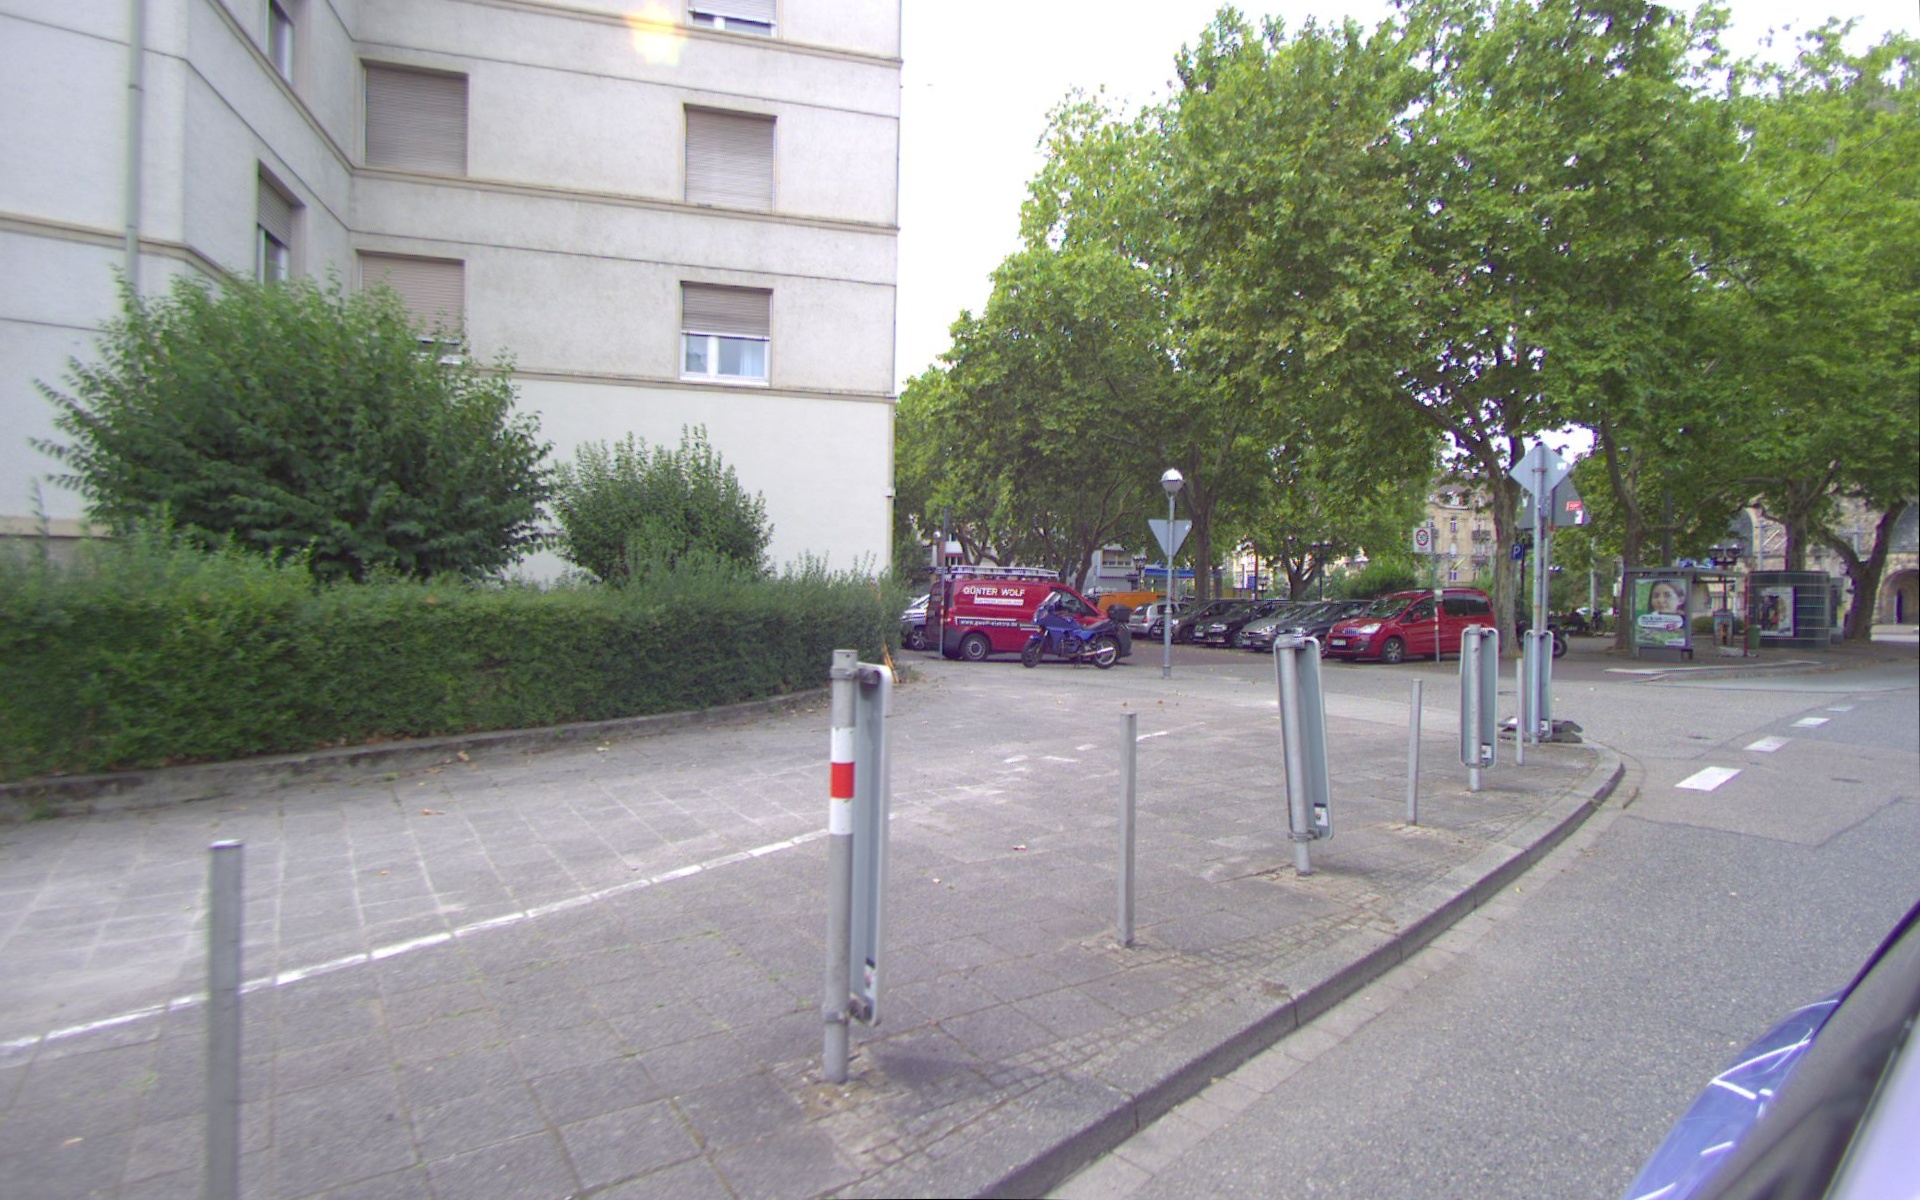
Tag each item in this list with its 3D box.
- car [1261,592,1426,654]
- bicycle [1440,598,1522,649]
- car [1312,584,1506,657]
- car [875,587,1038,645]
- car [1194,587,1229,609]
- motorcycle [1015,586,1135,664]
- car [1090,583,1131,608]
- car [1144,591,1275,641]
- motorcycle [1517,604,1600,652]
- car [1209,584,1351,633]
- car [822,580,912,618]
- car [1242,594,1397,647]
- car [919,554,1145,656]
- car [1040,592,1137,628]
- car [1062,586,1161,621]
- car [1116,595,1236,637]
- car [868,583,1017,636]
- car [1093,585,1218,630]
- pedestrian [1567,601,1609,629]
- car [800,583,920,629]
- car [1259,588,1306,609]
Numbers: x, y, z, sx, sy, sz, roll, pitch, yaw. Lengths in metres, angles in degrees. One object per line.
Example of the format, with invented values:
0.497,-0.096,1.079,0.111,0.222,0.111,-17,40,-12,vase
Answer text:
10.483,0.595,27.700,3.916,1.571,1.837,0,1,-18,car
15.447,0.692,30.009,2.264,1.395,0.421,2,0,-7,bicycle
11.218,0.473,25.333,4.239,1.727,1.943,0,1,-19,car
-0.127,0.417,27.978,4.106,1.523,2.004,0,0,-16,car
22.802,-0.179,91.926,1.961,1.839,4.001,1,0,-2,car
2.296,0.493,20.123,2.258,1.480,0.836,2,0,-27,motorcycle
13.382,-0.390,90.262,1.958,2.134,4.036,1,0,-19,car
8.592,0.527,34.938,3.916,1.619,2.004,0,1,-18,car
16.331,0.742,27.650,0.521,1.238,1.857,2,0,-41,motorcycle
10.323,0.258,32.698,3.916,1.482,2.004,0,1,-18,car
-4.447,-0.040,48.139,3.915,1.749,2.004,0,0,-17,car
10.770,0.601,30.380,4.096,1.482,1.755,0,1,-15,car
1.623,0.125,23.285,4.742,2.177,2.004,1,0,-16,car
6.100,0.475,48.141,4.116,1.638,2.004,0,1,-18,car
6.788,0.143,45.462,3.916,1.482,2.004,0,1,-18,car
8.055,0.571,37.883,3.916,1.482,2.004,0,1,-18,car
-0.566,0.280,30.639,4.106,1.506,2.004,0,0,-16,car
7.752,0.293,40.161,4.463,1.716,2.004,0,1,-18,car
27.974,0.664,45.070,1.117,1.228,1.101,0,1,-14,pedestrian
-3.718,0.223,37.381,4.106,1.611,2.004,0,0,-17,car
29.976,-0.169,94.113,1.958,1.901,4.391,1,0,-17,car
